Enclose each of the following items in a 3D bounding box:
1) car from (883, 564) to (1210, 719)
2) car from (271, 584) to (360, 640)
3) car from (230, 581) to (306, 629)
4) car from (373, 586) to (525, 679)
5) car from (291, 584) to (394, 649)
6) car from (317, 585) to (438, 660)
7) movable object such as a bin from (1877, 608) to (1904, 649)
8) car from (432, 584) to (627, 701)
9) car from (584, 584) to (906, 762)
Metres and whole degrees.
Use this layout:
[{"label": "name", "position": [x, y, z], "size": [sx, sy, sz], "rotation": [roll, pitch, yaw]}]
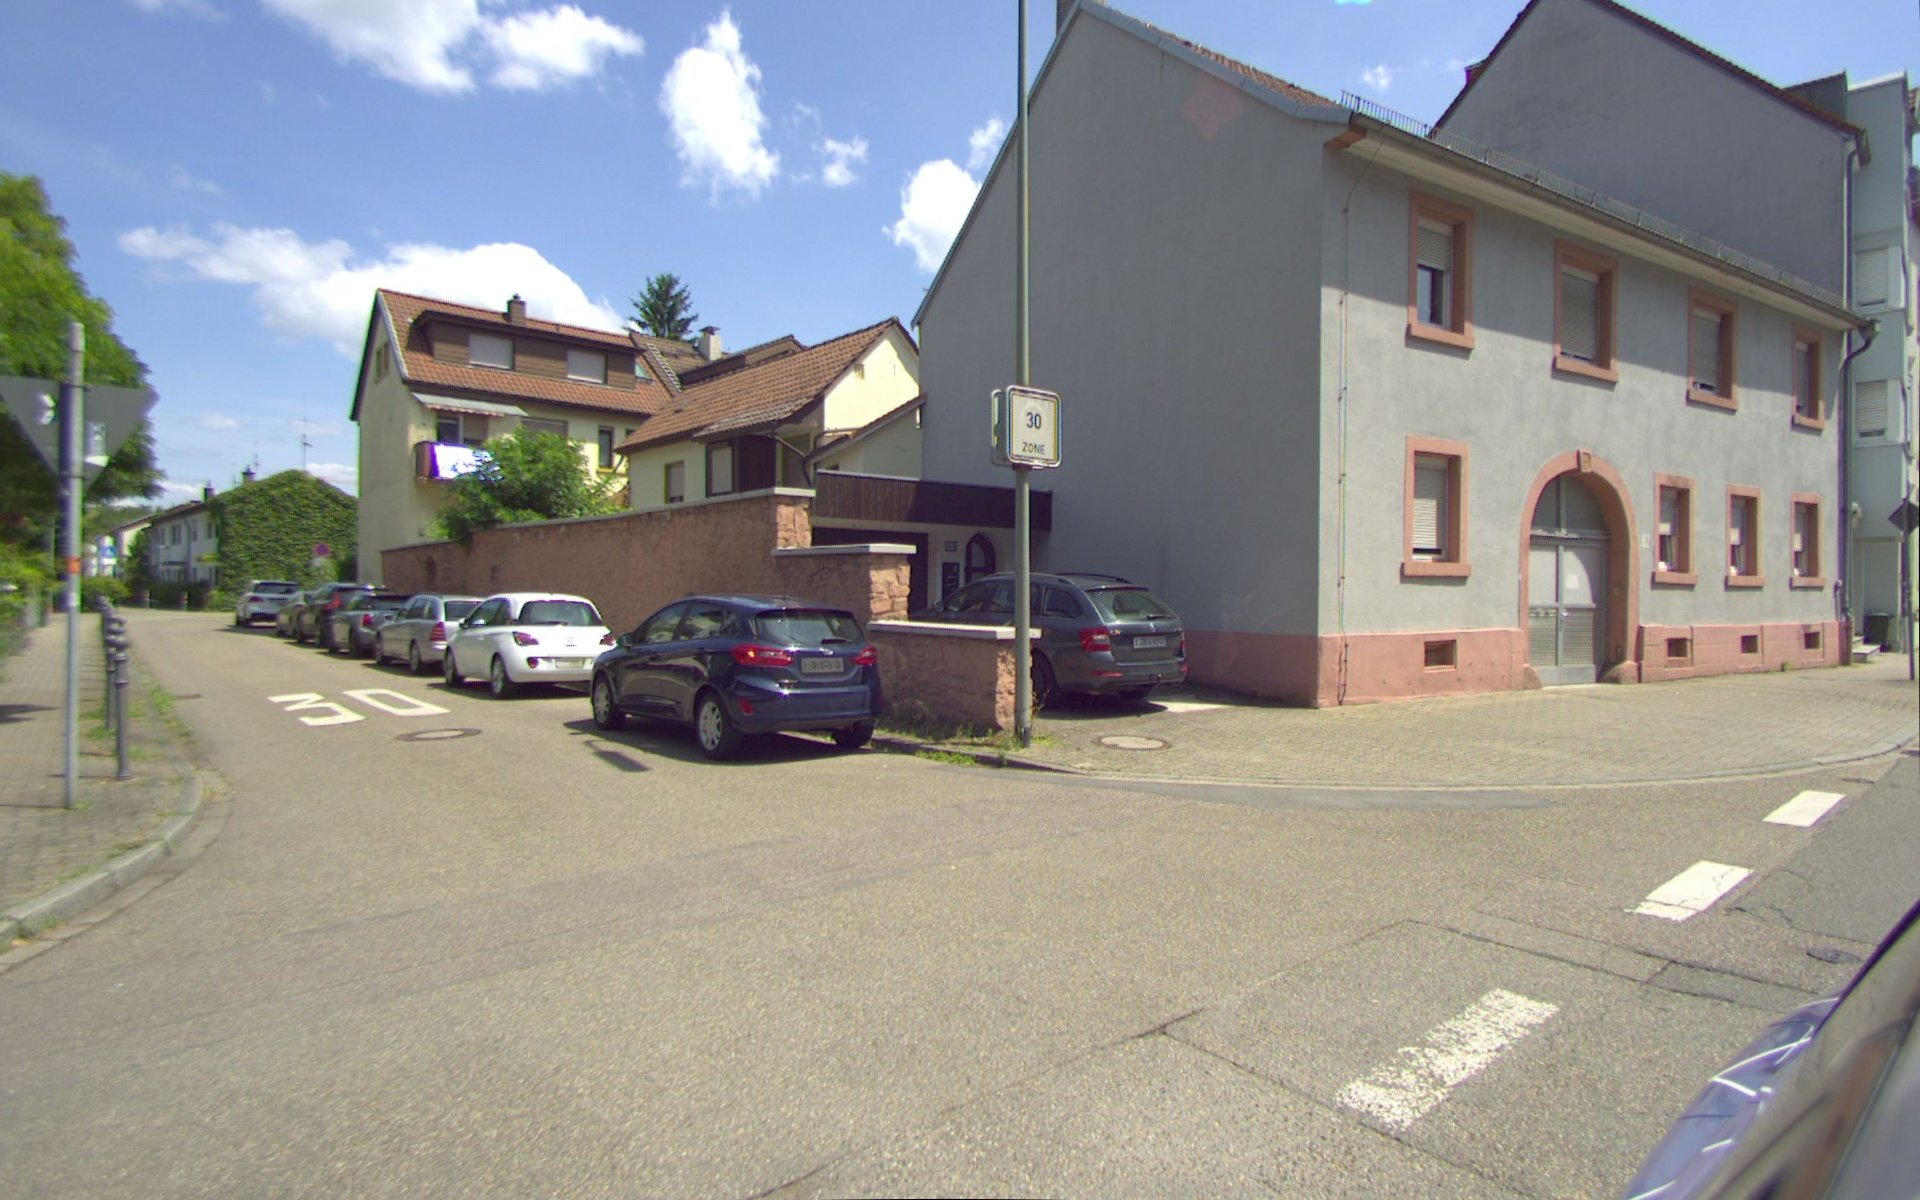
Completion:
[{"label": "car", "position": [0.889, 0.347, 12.706], "size": [1.710, 1.548, 4.282], "rotation": [-2, 3, -36]}, {"label": "car", "position": [-19.164, 0.384, 30.028], "size": [1.711, 1.550, 3.604], "rotation": [2, -2, -40]}, {"label": "car", "position": [-25.796, 0.165, 37.670], "size": [1.965, 1.683, 3.995], "rotation": [0, 1, -40]}, {"label": "car", "position": [-9.592, 0.587, 18.896], "size": [1.711, 1.550, 3.604], "rotation": [2, -2, -40]}, {"label": "car", "position": [-16.086, 0.434, 26.310], "size": [1.711, 1.550, 3.604], "rotation": [2, -2, -40]}, {"label": "car", "position": [-13.149, 0.505, 22.761], "size": [1.711, 1.550, 3.604], "rotation": [2, -2, -40]}, {"label": "movable object such as a bin", "position": [22.374, 0.687, 24.342], "size": [0.472, 0.947, 0.480], "rotation": [1, 1, 43]}, {"label": "car", "position": [-6.617, 0.604, 15.383], "size": [1.711, 1.550, 3.604], "rotation": [2, -2, -40]}, {"label": "car", "position": [-2.315, 0.634, 10.317], "size": [1.711, 1.467, 3.604], "rotation": [1, -1, -40]}]
